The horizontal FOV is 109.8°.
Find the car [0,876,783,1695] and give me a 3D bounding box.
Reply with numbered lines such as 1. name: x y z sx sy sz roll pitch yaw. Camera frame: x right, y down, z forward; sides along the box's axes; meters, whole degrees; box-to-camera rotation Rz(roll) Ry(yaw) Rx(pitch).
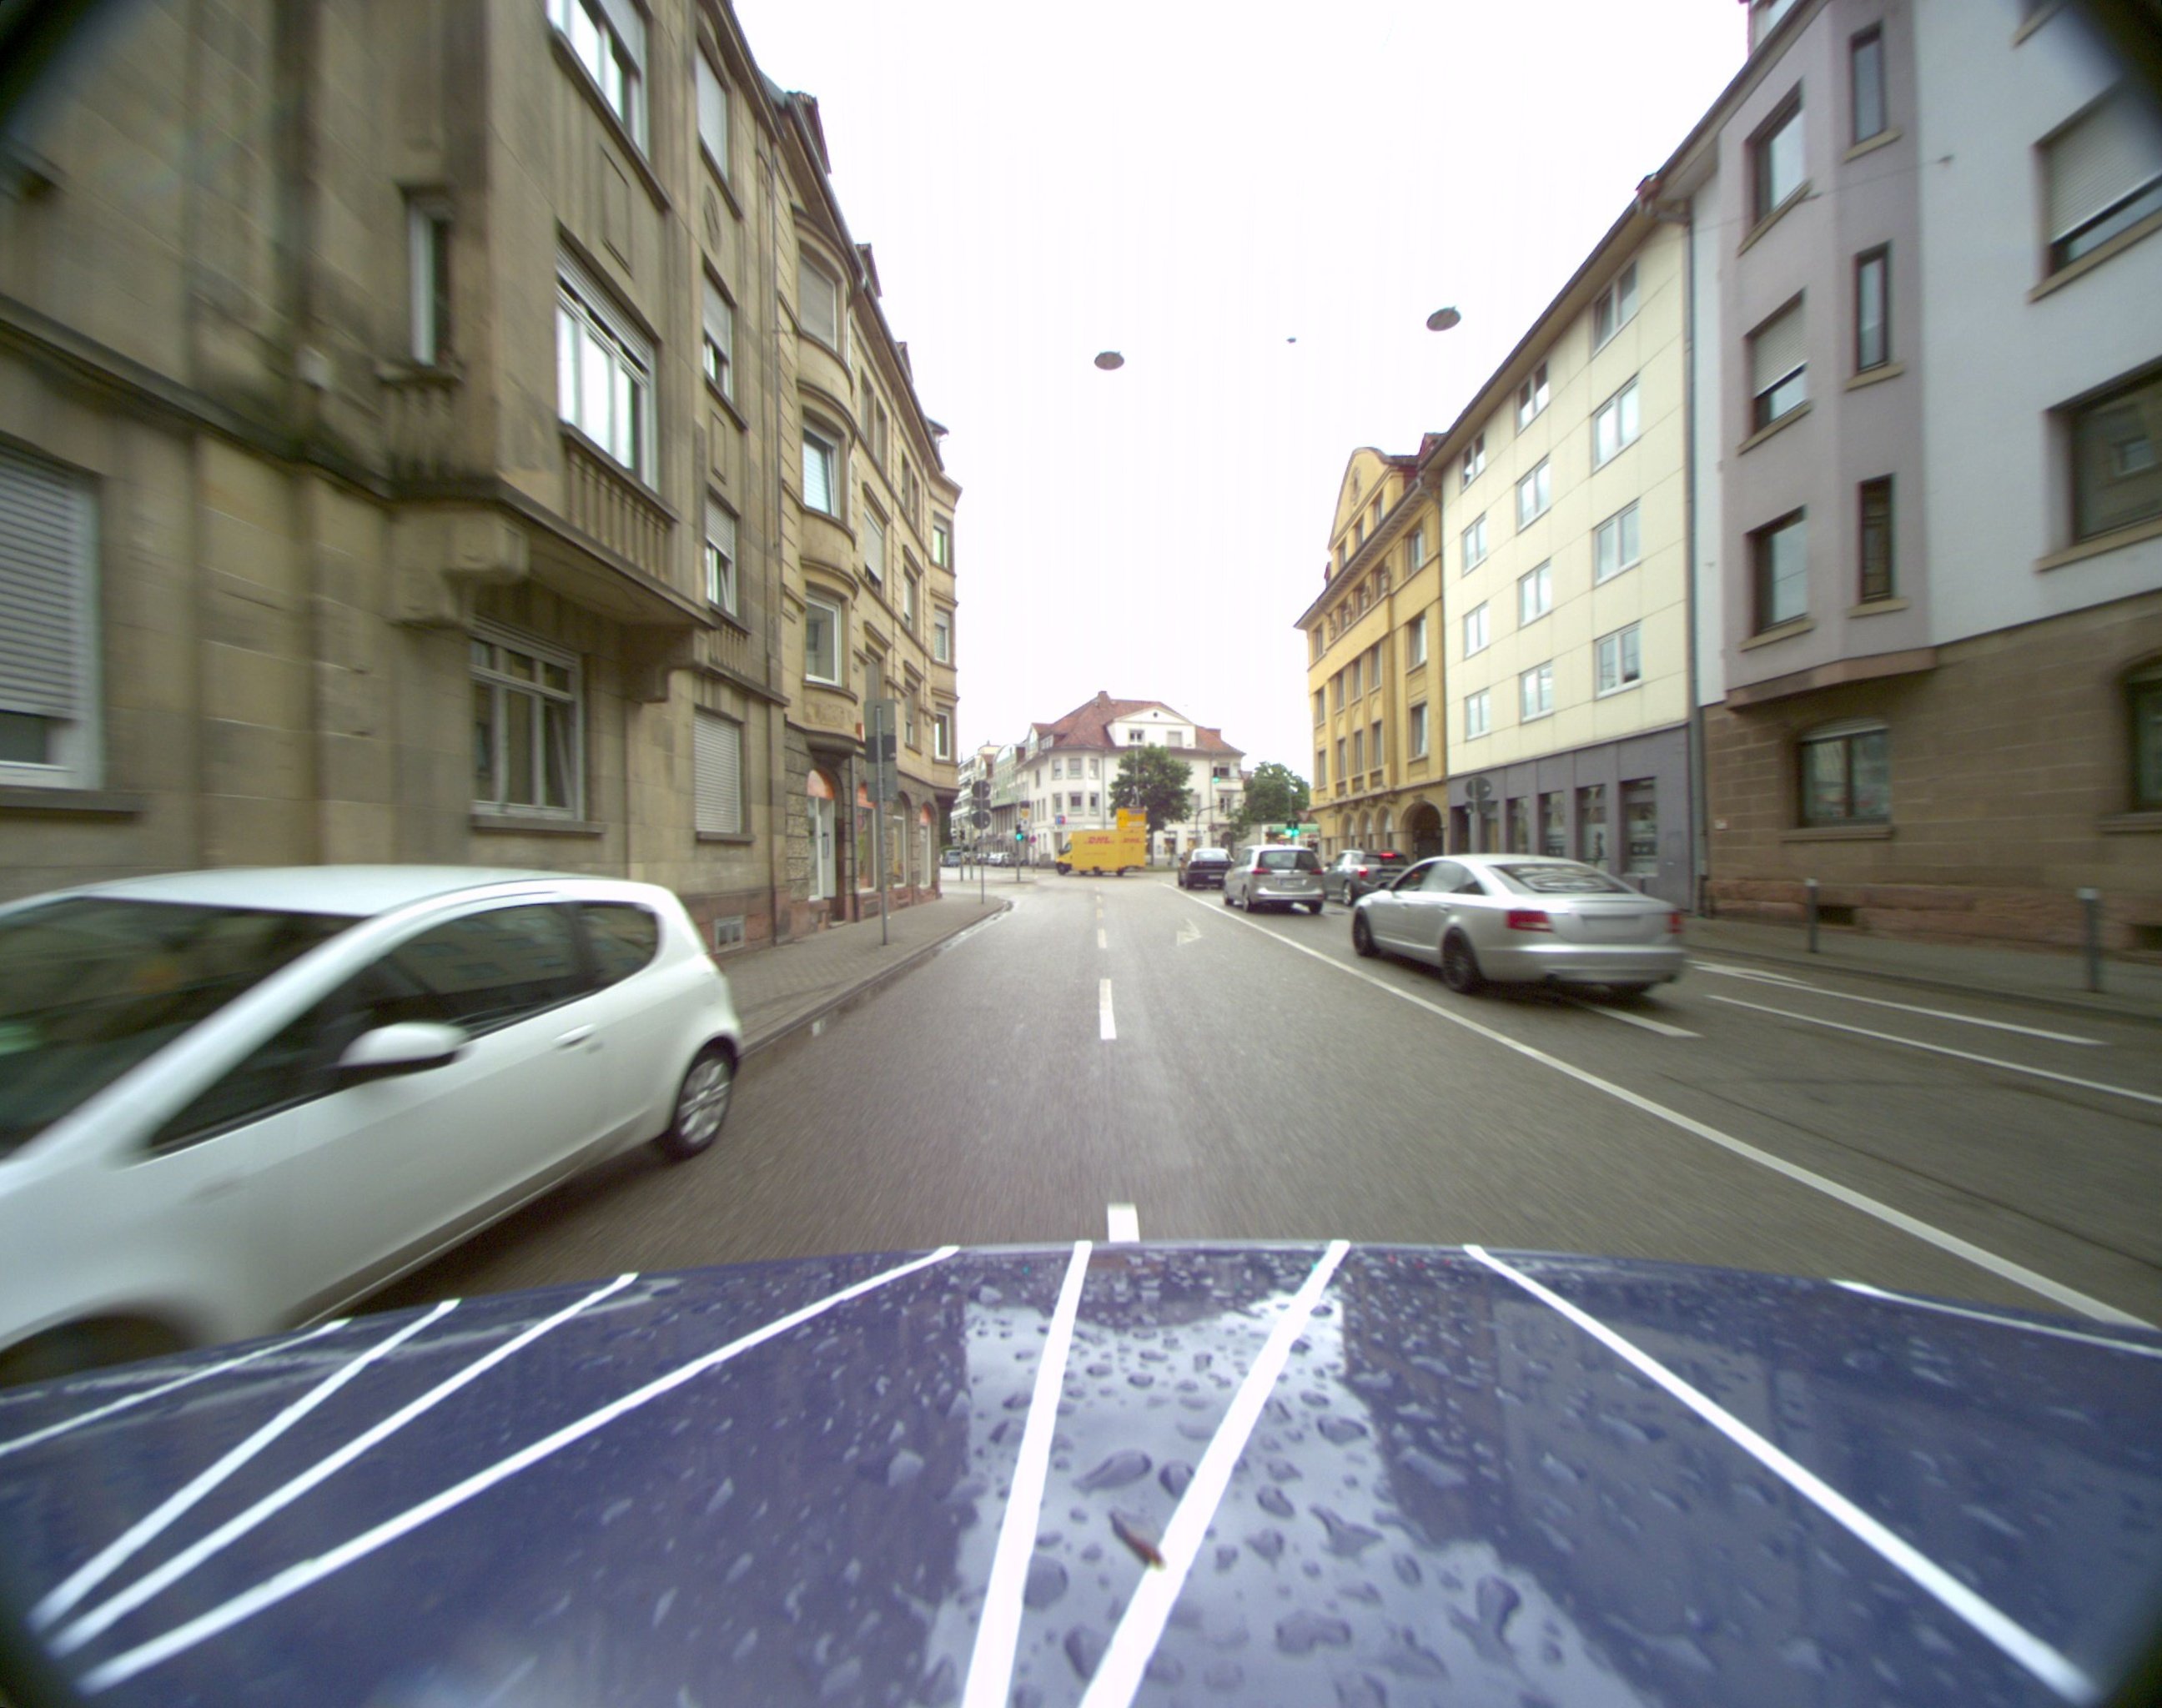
1. car: -2.912 0.924 2.764 1.651 1.485 4.448 0 1 4

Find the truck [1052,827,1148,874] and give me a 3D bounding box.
1. truck: 1.040 -0.238 47.703 2.239 2.735 7.005 -1 1 -36

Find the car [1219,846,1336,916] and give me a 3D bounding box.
1. car: 4.910 0.602 19.664 1.947 1.574 4.520 0 1 1

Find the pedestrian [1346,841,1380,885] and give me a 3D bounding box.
1. pedestrian: 11.699 0.364 31.581 0.895 1.761 1.032 -5 1 -1

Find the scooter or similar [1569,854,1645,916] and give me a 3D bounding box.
1. scooter or similar: 11.115 0.622 16.112 0.462 1.206 1.578 -5 1 0

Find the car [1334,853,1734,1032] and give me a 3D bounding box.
1. car: 4.664 0.764 8.835 1.948 1.462 4.559 -1 1 0

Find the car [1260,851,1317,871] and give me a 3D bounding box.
1. car: 16.783 0.573 61.528 4.042 1.509 2.021 -1 1 -17

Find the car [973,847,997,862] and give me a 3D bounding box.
1. car: -11.447 0.070 90.725 2.001 1.576 3.993 -7 3 -18

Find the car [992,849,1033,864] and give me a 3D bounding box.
1. car: -7.460 0.266 82.634 4.003 1.499 1.996 -1 1 -20

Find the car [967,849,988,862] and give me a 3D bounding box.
1. car: -13.123 0.113 96.278 2.001 1.576 3.993 -1 1 -18

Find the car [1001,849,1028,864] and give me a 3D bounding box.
1. car: -6.930 0.213 78.587 2.001 1.499 3.993 -1 1 -17

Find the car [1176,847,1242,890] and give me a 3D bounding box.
1. car: 5.041 0.506 30.550 1.947 1.574 4.604 0 1 1

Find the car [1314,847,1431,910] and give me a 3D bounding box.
1. car: 8.236 0.622 21.938 1.985 1.586 4.338 0 1 4

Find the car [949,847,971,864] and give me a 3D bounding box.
1. car: -14.295 0.172 89.568 2.001 1.904 3.993 -1 1 -18
